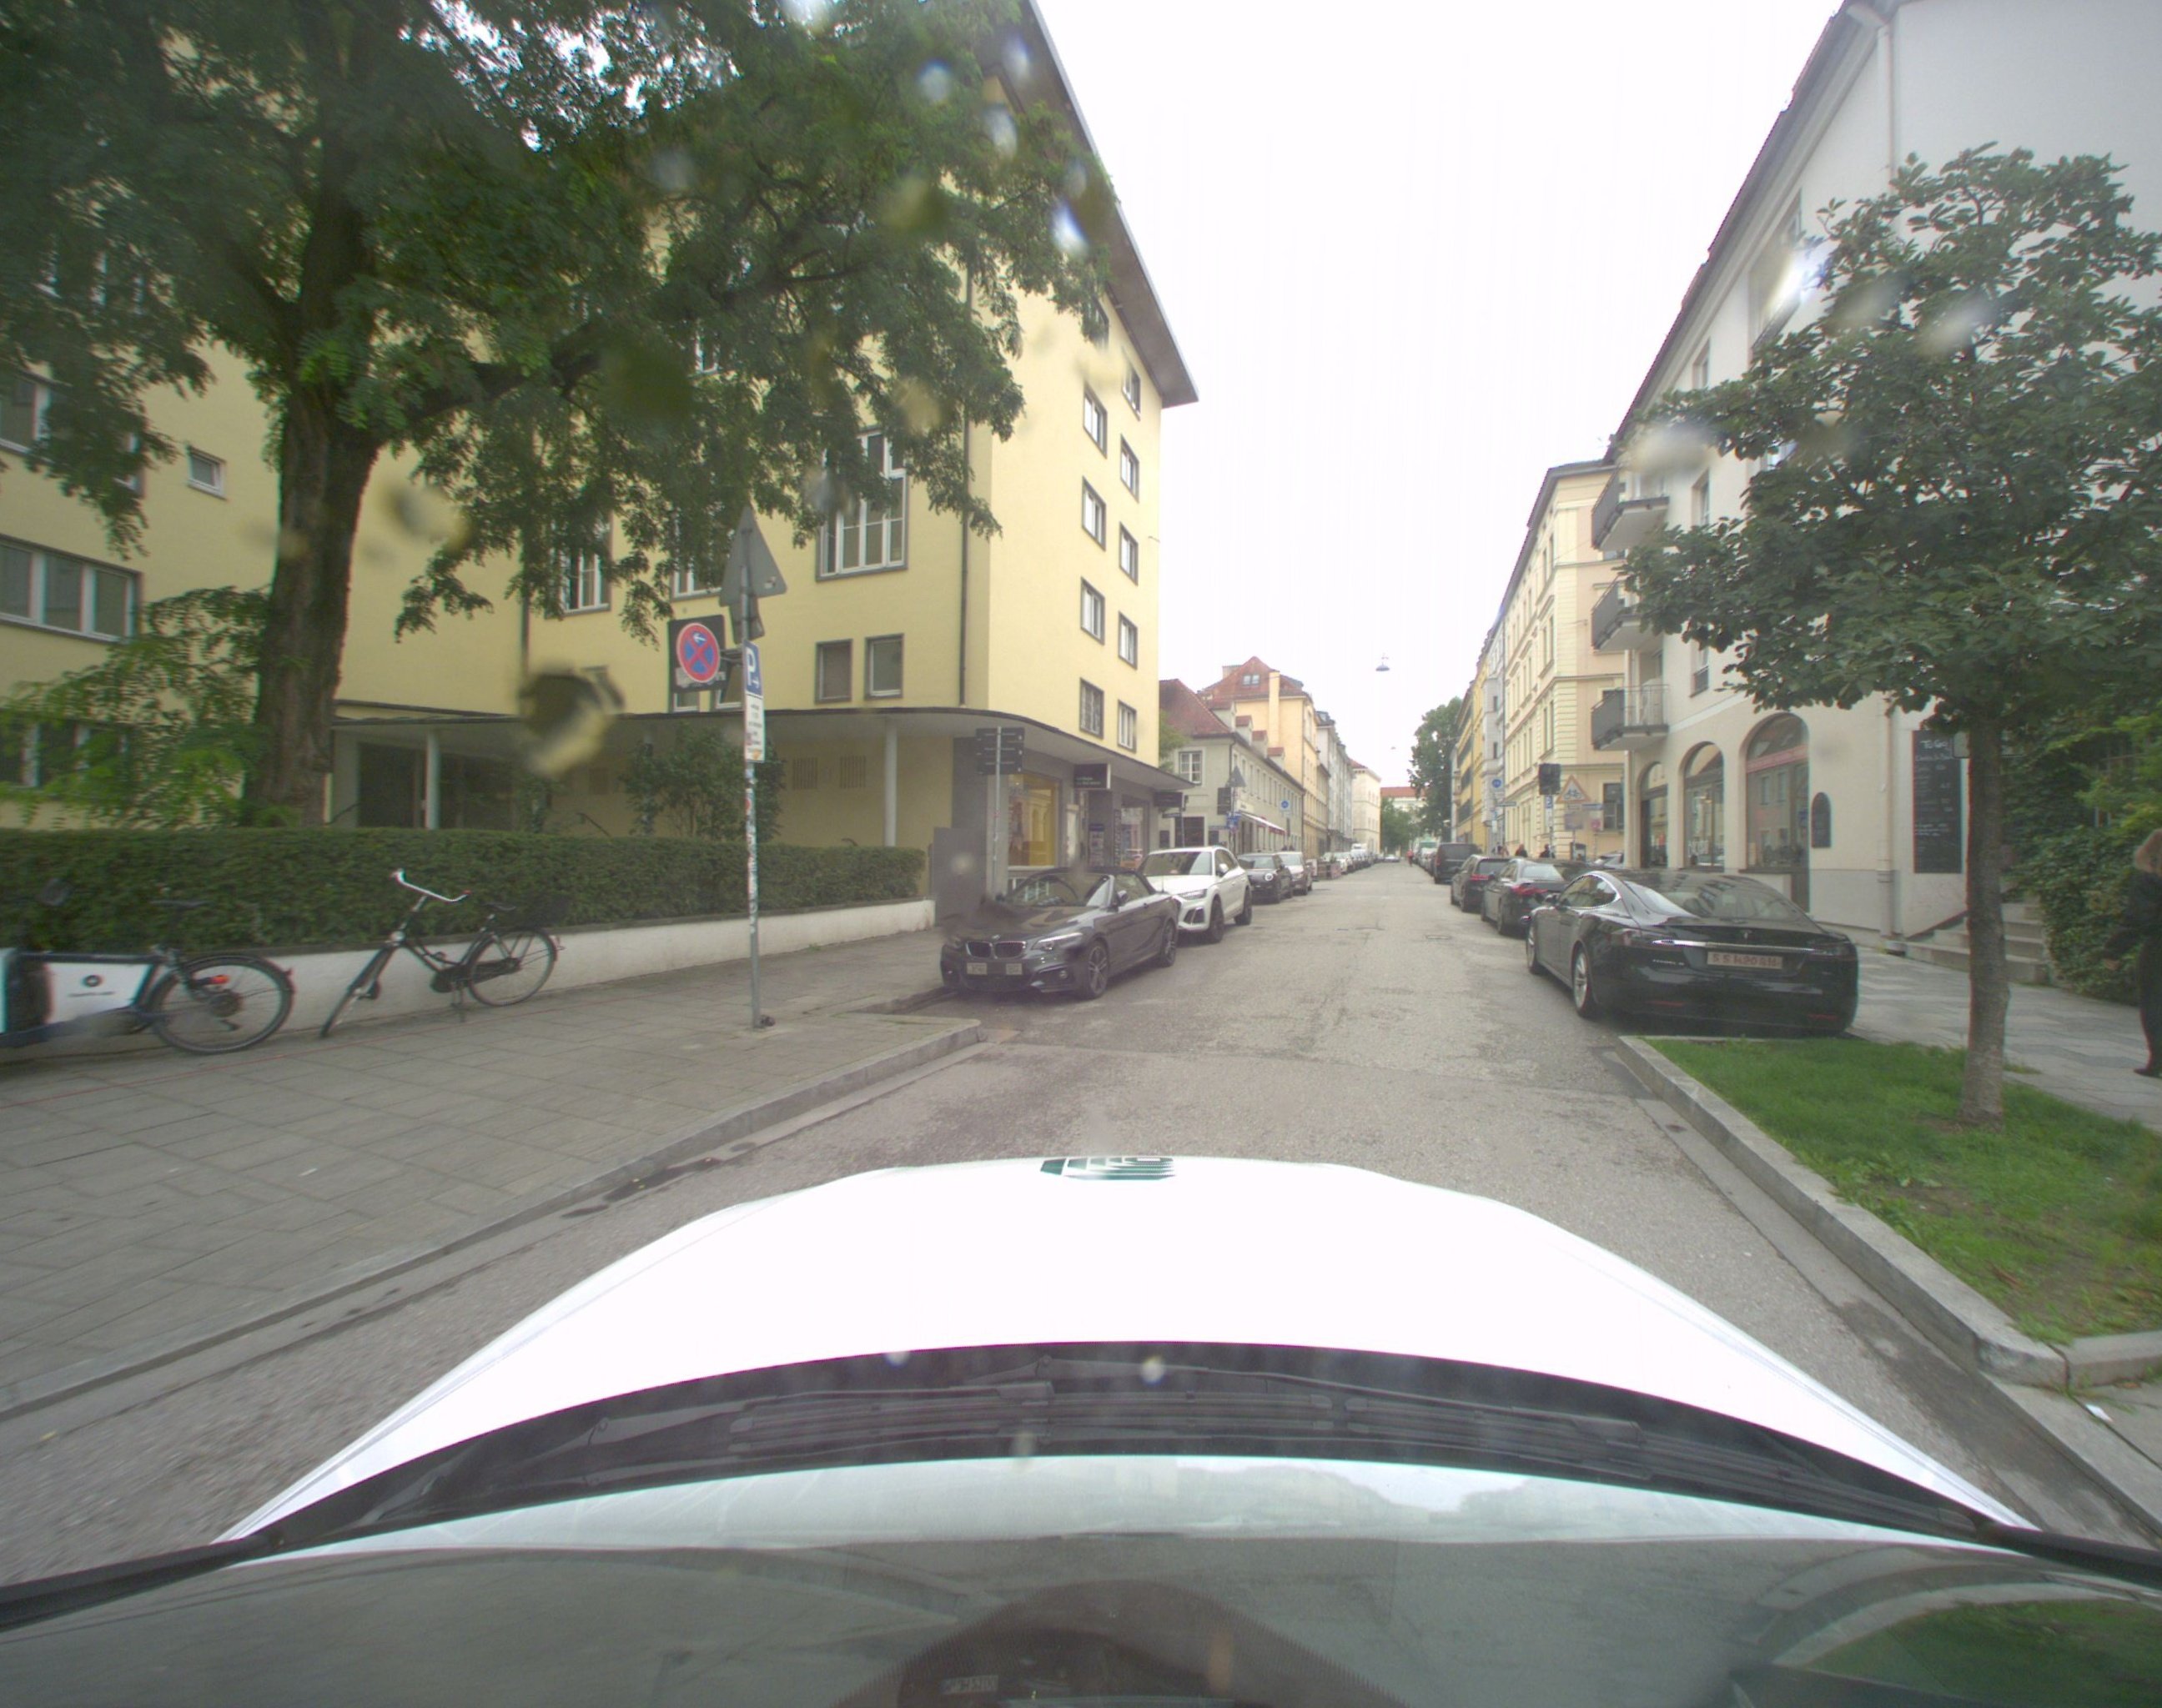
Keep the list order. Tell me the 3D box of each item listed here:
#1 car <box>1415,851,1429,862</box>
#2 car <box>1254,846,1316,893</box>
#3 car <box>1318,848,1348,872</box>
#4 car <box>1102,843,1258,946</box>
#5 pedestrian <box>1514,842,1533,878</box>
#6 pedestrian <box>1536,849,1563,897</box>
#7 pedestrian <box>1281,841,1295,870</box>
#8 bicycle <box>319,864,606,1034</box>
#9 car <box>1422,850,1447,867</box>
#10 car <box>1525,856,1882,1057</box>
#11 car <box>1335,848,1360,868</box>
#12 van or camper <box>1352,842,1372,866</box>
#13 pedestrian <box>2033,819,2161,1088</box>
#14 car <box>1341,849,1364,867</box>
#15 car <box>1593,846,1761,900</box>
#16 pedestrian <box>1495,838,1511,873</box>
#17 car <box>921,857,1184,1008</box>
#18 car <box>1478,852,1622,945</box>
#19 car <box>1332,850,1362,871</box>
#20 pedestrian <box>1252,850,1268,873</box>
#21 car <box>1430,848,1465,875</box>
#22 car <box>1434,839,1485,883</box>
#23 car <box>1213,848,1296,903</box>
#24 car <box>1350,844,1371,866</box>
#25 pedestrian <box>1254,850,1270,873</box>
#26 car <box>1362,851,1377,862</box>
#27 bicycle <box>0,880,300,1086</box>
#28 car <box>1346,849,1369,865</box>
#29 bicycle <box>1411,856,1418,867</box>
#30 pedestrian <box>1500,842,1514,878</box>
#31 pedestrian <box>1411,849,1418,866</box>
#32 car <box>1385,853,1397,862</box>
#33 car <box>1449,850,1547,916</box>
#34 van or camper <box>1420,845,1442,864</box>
[{"bbox_3d":[49.467,0.348,118.069,1.796,1.614,4.178,0,0,22],"label":"car"},{"bbox_3d":[7.207,0.495,28.426,1.665,1.471,4.974,-1,0,19],"label":"car"},{"bbox_3d":[16.314,0.393,52.677,1.740,1.475,3.732,1,0,19],"label":"car"},{"bbox_3d":[2.012,0.627,15.197,1.787,1.584,4.361,-1,1,22],"label":"car"},{"bbox_3d":[20.430,0.288,37.591,0.653,1.620,0.984,0,-1,21],"label":"pedestrian"},{"bbox_3d":[17.192,0.704,29.915,0.713,1.717,1.009,0,-1,20],"label":"pedestrian"},{"bbox_3d":[14.020,0.112,55.100,0.815,1.898,0.831,0,-2,20],"label":"pedestrian"},{"bbox_3d":[-5.094,0.702,6.876,0.557,1.210,1.864,1,0,24],"label":"bicycle"},{"bbox_3d":[30.835,0.393,71.162,1.694,1.454,4.117,1,0,20],"label":"car"},{"bbox_3d":[6.045,0.780,8.627,1.787,1.410,4.681,1,1,22],"label":"car"},{"bbox_3d":[20.635,0.328,62.921,1.740,1.496,4.221,1,0,19],"label":"car"},{"bbox_3d":[28.309,-0.017,82.002,1.740,2.281,5.300,1,0,21],"label":"van or camper"},{"bbox_3d":[7.084,0.621,5.362,0.699,1.661,0.885,0,-1,20],"label":"pedestrian"},{"bbox_3d":[22.588,0.310,67.808,1.801,1.441,4.151,-1,0,18],"label":"car"},{"bbox_3d":[19.071,0.569,26.294,4.054,1.605,1.764,0,2,20],"label":"car"},{"bbox_3d":[24.668,0.113,47.641,0.663,1.981,0.712,-3,-3,22],"label":"pedestrian"},{"bbox_3d":[-0.098,0.784,10.132,1.730,1.410,4.120,-1,0,22],"label":"car"},{"bbox_3d":[8.921,0.732,15.857,1.632,1.425,4.532,3,2,20],"label":"car"},{"bbox_3d":[18.836,0.443,57.538,1.783,1.339,4.709,1,1,21],"label":"car"},{"bbox_3d":[9.866,0.414,44.875,0.796,1.290,0.697,0,-2,22],"label":"pedestrian"},{"bbox_3d":[21.744,0.430,48.413,1.739,1.521,4.297,1,0,22],"label":"car"},{"bbox_3d":[17.536,0.295,37.903,1.980,1.864,5.282,1,0,23],"label":"car"},{"bbox_3d":[5.213,0.569,24.061,1.664,1.471,4.119,-1,0,22],"label":"car"},{"bbox_3d":[26.368,0.064,77.019,1.741,1.995,4.646,1,0,18],"label":"car"},{"bbox_3d":[10.127,0.424,45.555,0.796,1.290,0.697,0,-2,22],"label":"pedestrian"},{"bbox_3d":[38.382,0.352,108.415,1.802,1.444,3.838,-1,-1,21],"label":"car"},{"bbox_3d":[-6.292,0.748,4.878,2.311,1.126,0.576,1,1,-45],"label":"bicycle"},{"bbox_3d":[24.565,0.277,72.305,1.740,1.409,4.124,1,0,20],"label":"car"},{"bbox_3d":[33.438,0.727,81.671,0.669,1.095,1.769,0,-1,22],"label":"bicycle"},{"bbox_3d":[19.777,0.295,37.820,0.468,1.625,1.075,0,-1,21],"label":"pedestrian"},{"bbox_3d":[33.464,0.360,81.750,0.636,1.714,0.847,0,-2,22],"label":"pedestrian"},{"bbox_3d":[58.156,0.603,152.760,1.691,1.581,3.884,-1,-1,24],"label":"car"},{"bbox_3d":[10.659,0.654,21.106,1.662,1.425,4.224,3,2,19],"label":"car"},{"bbox_3d":[34.394,0.054,80.059,1.818,1.872,5.106,1,0,22],"label":"van or camper"}]
